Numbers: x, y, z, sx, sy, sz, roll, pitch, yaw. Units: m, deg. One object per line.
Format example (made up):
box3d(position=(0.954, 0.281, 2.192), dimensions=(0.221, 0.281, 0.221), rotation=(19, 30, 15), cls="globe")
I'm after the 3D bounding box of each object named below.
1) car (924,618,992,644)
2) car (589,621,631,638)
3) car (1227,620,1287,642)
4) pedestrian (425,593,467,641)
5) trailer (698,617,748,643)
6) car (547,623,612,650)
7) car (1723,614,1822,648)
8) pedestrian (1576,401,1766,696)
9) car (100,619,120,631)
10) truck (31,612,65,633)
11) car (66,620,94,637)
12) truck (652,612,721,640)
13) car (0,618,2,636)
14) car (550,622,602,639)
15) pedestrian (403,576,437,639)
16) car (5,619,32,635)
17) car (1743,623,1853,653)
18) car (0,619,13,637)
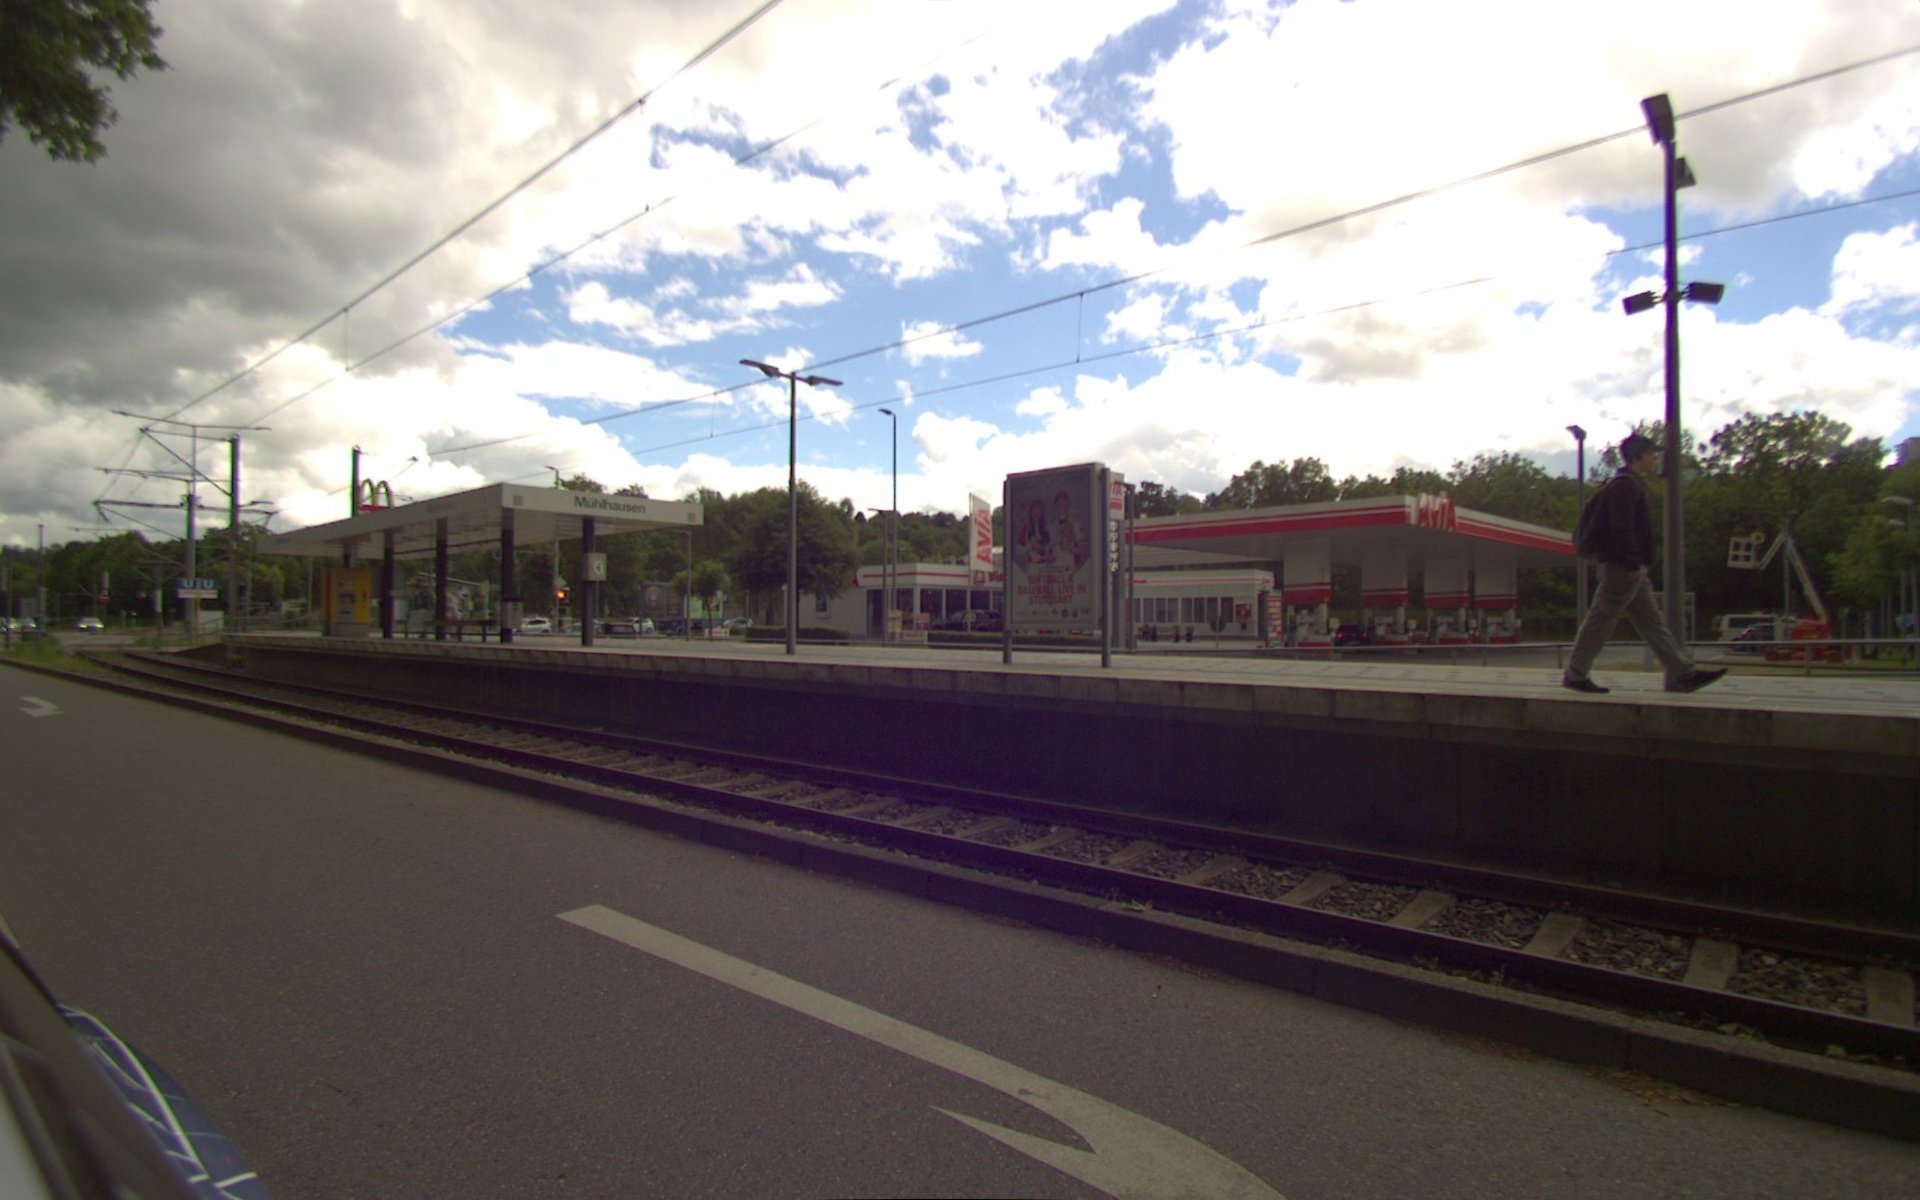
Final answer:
box3d(position=(-0.120, 1.667, 54.879), dimensions=(3.636, 1.360, 1.595), rotation=(-1, -2, 44), cls="car")
box3d(position=(-34.451, 2.903, 99.646), dimensions=(1.722, 1.566, 3.601), rotation=(0, -3, 32), cls="car")
box3d(position=(24.597, 2.547, 83.728), dimensions=(4.431, 1.719, 1.894), rotation=(0, -3, 34), cls="car")
box3d(position=(-12.930, 0.435, 25.458), dimensions=(0.728, 1.198, 0.760), rotation=(-1, -2, 45), cls="pedestrian")
box3d(position=(-21.627, 2.723, 92.550), dimensions=(1.559, 2.275, 4.332), rotation=(-1, -3, 41), cls="trailer")
box3d(position=(-20.509, 1.934, 54.466), dimensions=(4.030, 1.360, 1.596), rotation=(-1, -2, 42), cls="car")
box3d(position=(43.394, 1.639, 54.119), dimensions=(4.055, 1.765, 1.890), rotation=(-1, -3, 40), cls="car")
box3d(position=(4.633, -0.291, 6.604), dimensions=(0.936, 1.757, 0.741), rotation=(-1, -3, 41), cls="pedestrian")
box3d(position=(-142.855, 4.159, 170.084), dimensions=(3.998, 2.029, 1.973), rotation=(-1, -3, 41), cls="car")
box3d(position=(-157.532, 3.881, 174.710), dimensions=(8.698, 3.587, 3.389), rotation=(-1, -3, 42), cls="truck")
box3d(position=(-87.421, 2.846, 100.532), dimensions=(1.937, 1.564, 4.007), rotation=(3, -3, -40), cls="car")
box3d(position=(-25.014, 2.382, 92.848), dimensions=(2.386, 2.513, 5.743), rotation=(-1, -2, 43), cls="truck")
box3d(position=(-82.731, 2.233, 85.583), dimensions=(1.967, 1.547, 4.009), rotation=(3, -3, -36), cls="car")
box3d(position=(-35.406, 2.801, 93.464), dimensions=(1.788, 1.443, 4.375), rotation=(-1, -1, 28), cls="car")
box3d(position=(-14.221, 0.209, 26.657), dimensions=(0.572, 1.633, 0.577), rotation=(-1, -3, 43), cls="pedestrian")
box3d(position=(-98.137, 2.809, 105.522), dimensions=(1.803, 1.564, 4.007), rotation=(3, -3, -40), cls="car")
box3d(position=(40.962, 1.871, 49.563), dimensions=(4.056, 1.376, 1.890), rotation=(-1, -3, 40), cls="car")
box3d(position=(-86.208, 2.485, 90.462), dimensions=(1.802, 1.564, 4.008), rotation=(3, -3, -38), cls="car")
